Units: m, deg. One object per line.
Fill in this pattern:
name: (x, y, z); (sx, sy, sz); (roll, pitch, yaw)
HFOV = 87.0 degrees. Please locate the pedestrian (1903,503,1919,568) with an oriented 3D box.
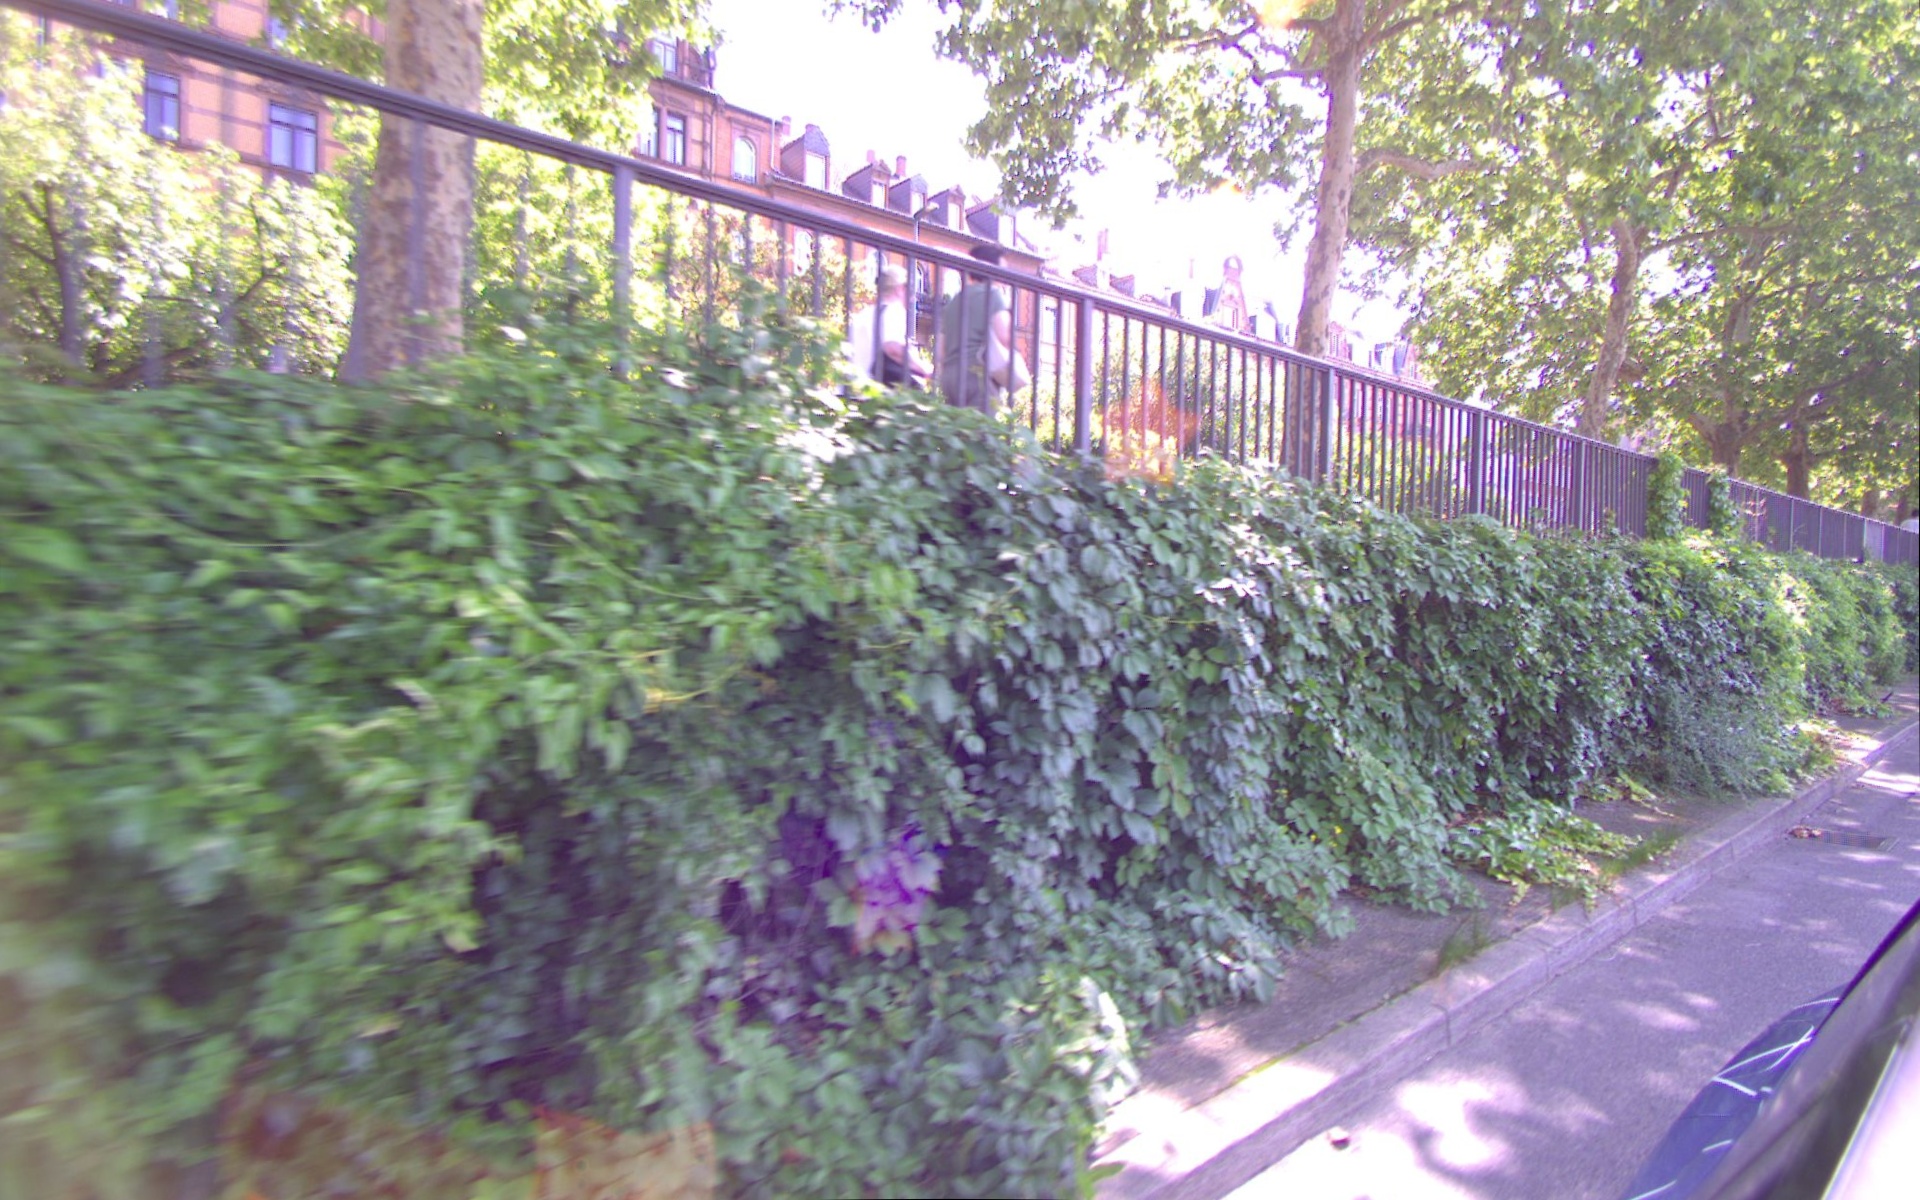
pedestrian: (24.275, -1.609, 25.492); (0.639, 1.611, 0.666); (0, 2, -41)

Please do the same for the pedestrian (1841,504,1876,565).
pedestrian: (21.842, -1.586, 24.611); (0.584, 1.437, 0.580); (2, 2, 42)

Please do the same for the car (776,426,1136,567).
car: (-0.157, -1.090, 10.957); (3.724, 1.250, 1.649); (6, 4, 41)

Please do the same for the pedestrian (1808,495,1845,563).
pedestrian: (21.448, -1.746, 25.057); (0.646, 1.660, 0.617); (2, 2, 42)

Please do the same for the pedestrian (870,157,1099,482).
pedestrian: (0.118, -1.324, 5.115); (0.800, 1.382, 0.754); (0, 4, -42)

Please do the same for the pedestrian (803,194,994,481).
pedestrian: (-0.345, -1.387, 5.645); (0.781, 1.382, 0.645); (0, 4, -43)

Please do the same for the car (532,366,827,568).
car: (-2.498, -0.997, 8.384); (1.484, 1.250, 3.541); (1, 4, -30)
